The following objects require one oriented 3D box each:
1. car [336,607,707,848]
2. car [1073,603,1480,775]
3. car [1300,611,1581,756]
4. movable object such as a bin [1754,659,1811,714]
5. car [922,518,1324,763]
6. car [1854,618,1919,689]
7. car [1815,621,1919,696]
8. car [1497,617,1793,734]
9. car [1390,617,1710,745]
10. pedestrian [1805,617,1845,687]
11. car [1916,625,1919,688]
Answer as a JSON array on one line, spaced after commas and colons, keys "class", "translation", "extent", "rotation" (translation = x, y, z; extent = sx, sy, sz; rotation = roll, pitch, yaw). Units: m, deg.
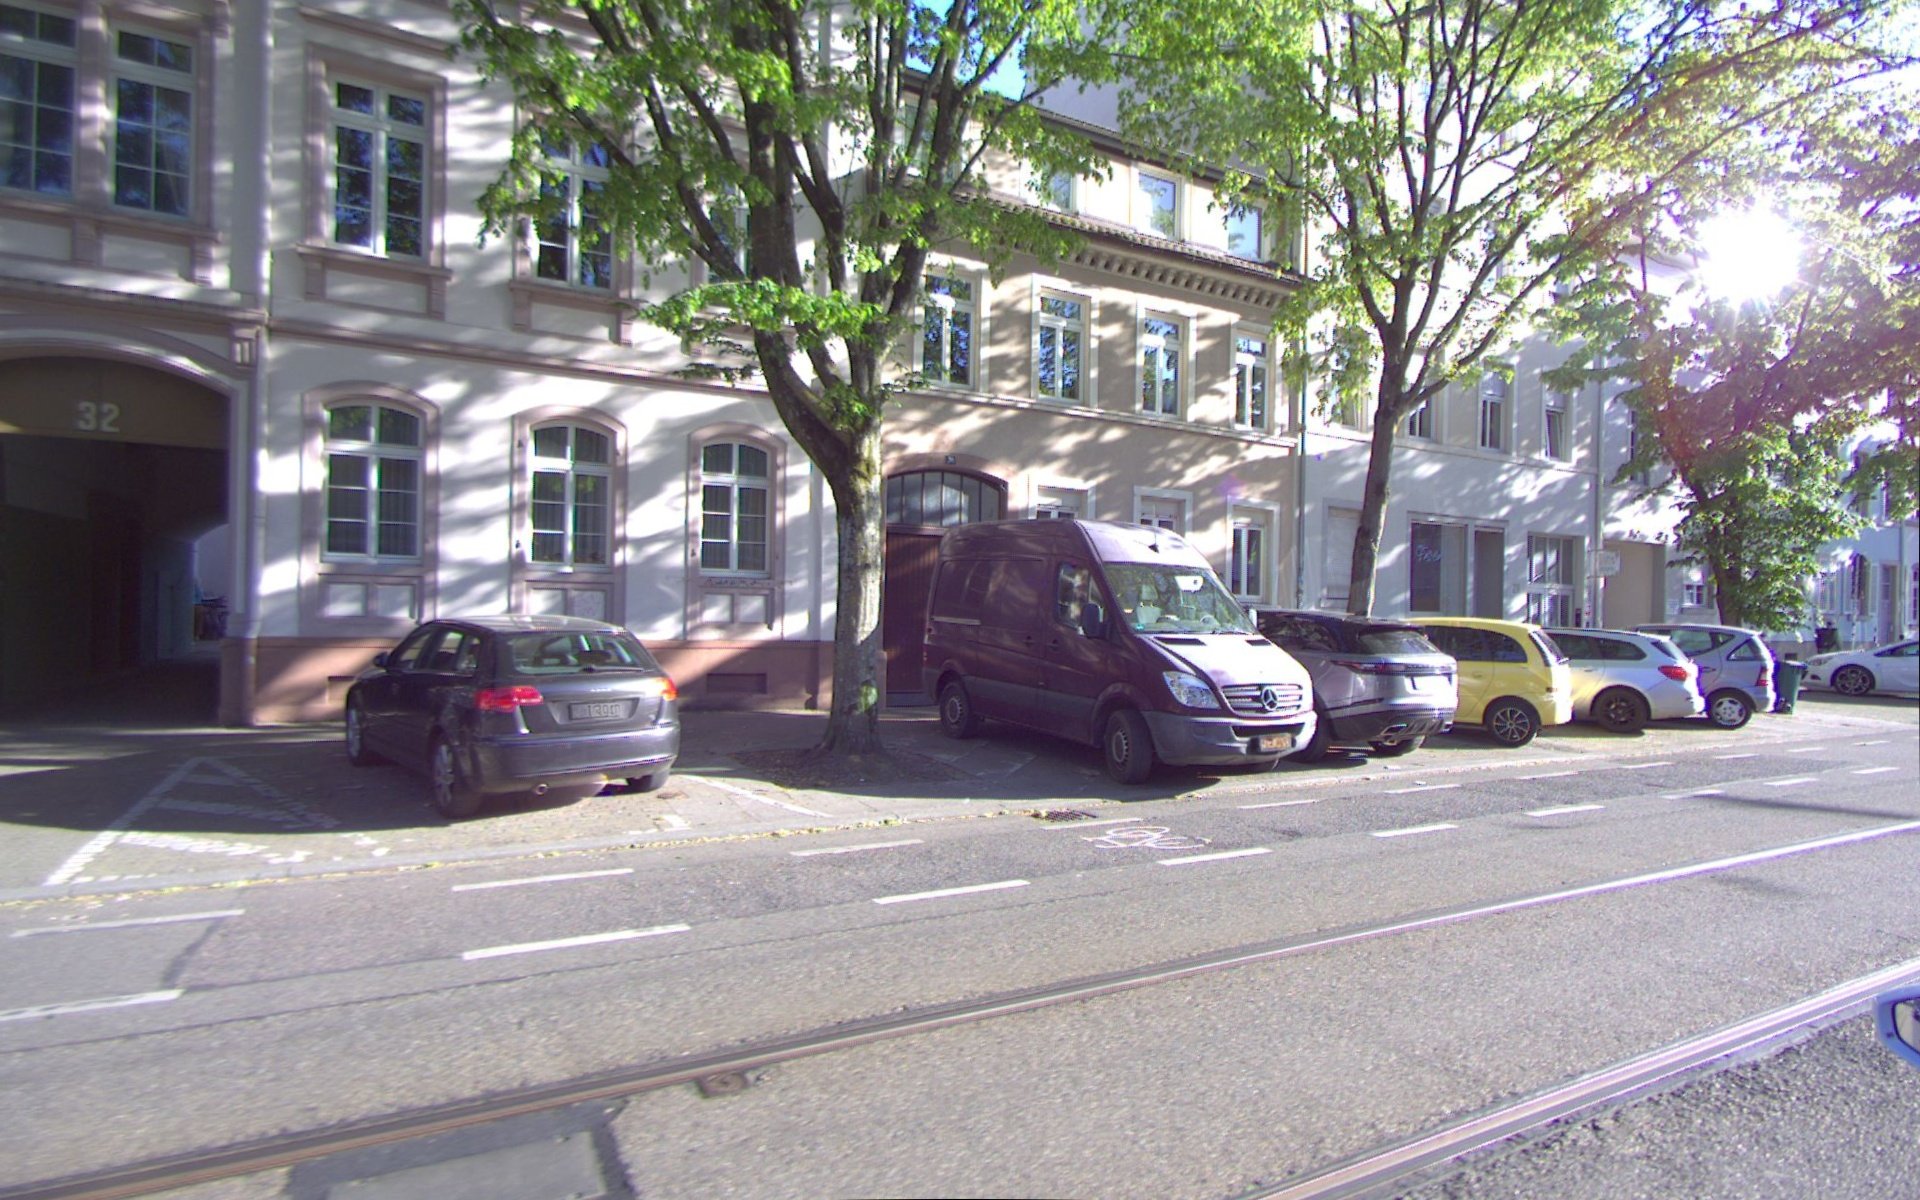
[{"class": "car", "translation": [-3.940, 0.867, 8.637], "extent": [1.659, 1.472, 4.047], "rotation": [2, 0, -43]}, {"class": "car", "translation": [3.731, 0.944, 12.829], "extent": [2.138, 1.747, 4.806], "rotation": [1, -1, -30]}, {"class": "car", "translation": [6.633, 1.060, 13.987], "extent": [3.316, 1.574, 1.381], "rotation": [4, 3, 32]}, {"class": "movable object such as a bin", "translation": [15.044, 1.568, 18.373], "extent": [0.662, 0.957, 0.619], "rotation": [1, -1, -29]}, {"class": "car", "translation": [1.553, 0.380, 11.254], "extent": [2.138, 2.146, 4.415], "rotation": [1, -1, -30]}, {"class": "car", "translation": [25.268, 1.409, 25.175], "extent": [3.931, 1.679, 1.806], "rotation": [3, 2, 32]}, {"class": "car", "translation": [21.795, 1.371, 22.738], "extent": [3.595, 1.550, 1.876], "rotation": [3, 1, 43]}, {"class": "car", "translation": [11.579, 1.178, 17.150], "extent": [3.946, 1.699, 1.692], "rotation": [1, 0, 45]}, {"class": "car", "translation": [9.175, 1.161, 15.889], "extent": [4.099, 1.573, 1.699], "rotation": [3, 1, 32]}, {"class": "pedestrian", "translation": [23.495, 1.408, 27.292], "extent": [0.616, 1.862, 0.641], "rotation": [1, -1, -27]}, {"class": "car", "translation": [29.949, 1.652, 27.588], "extent": [4.847, 1.818, 2.207], "rotation": [0, -1, 25]}]
